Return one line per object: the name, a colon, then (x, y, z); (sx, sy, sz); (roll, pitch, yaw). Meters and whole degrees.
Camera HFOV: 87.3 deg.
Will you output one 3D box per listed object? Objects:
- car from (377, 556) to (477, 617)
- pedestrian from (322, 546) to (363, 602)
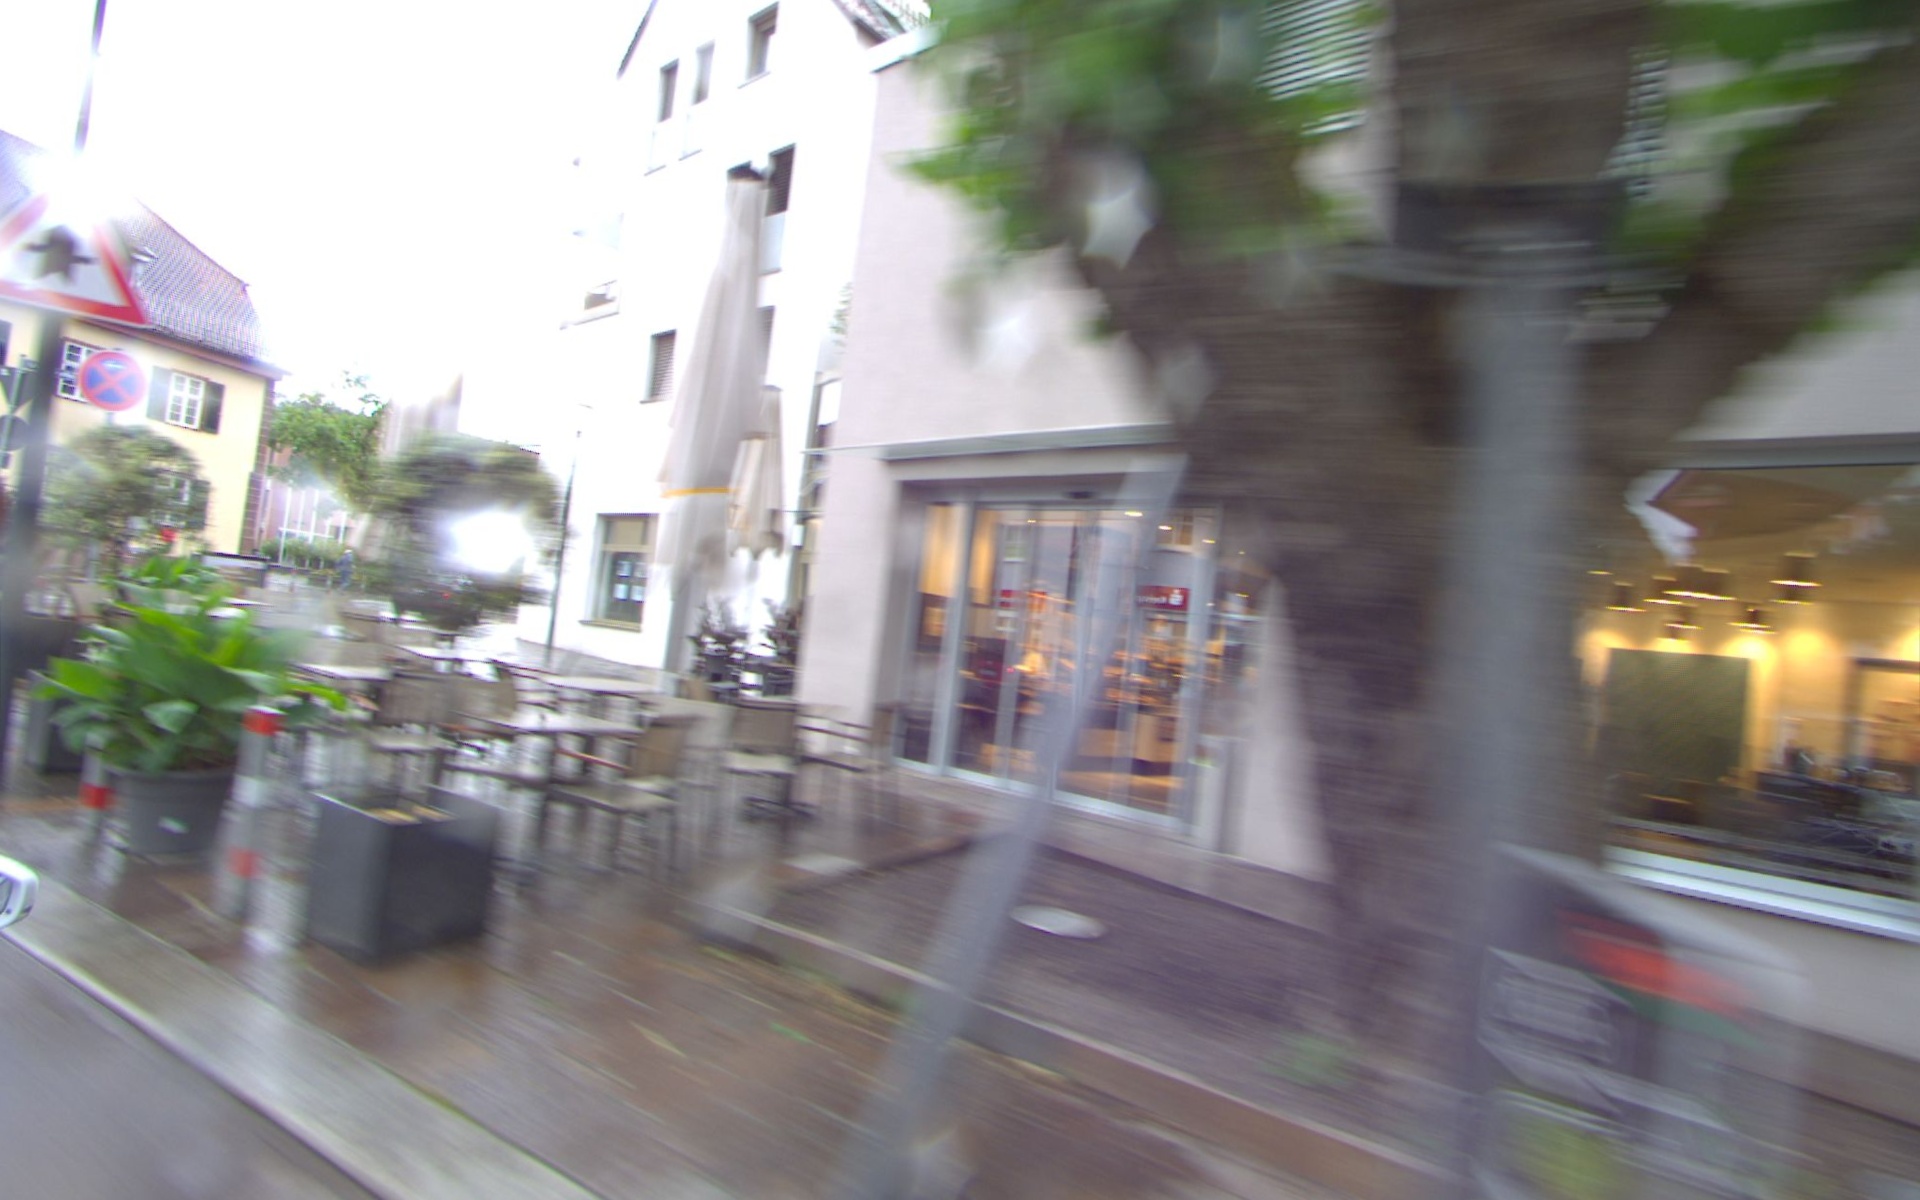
car: (-14.741, -0.349, 27.995); (1.648, 1.379, 3.595); (8, -2, -17)
pedestrian: (-21.548, -0.902, 35.121); (0.778, 1.843, 0.686); (7, -1, -2)
